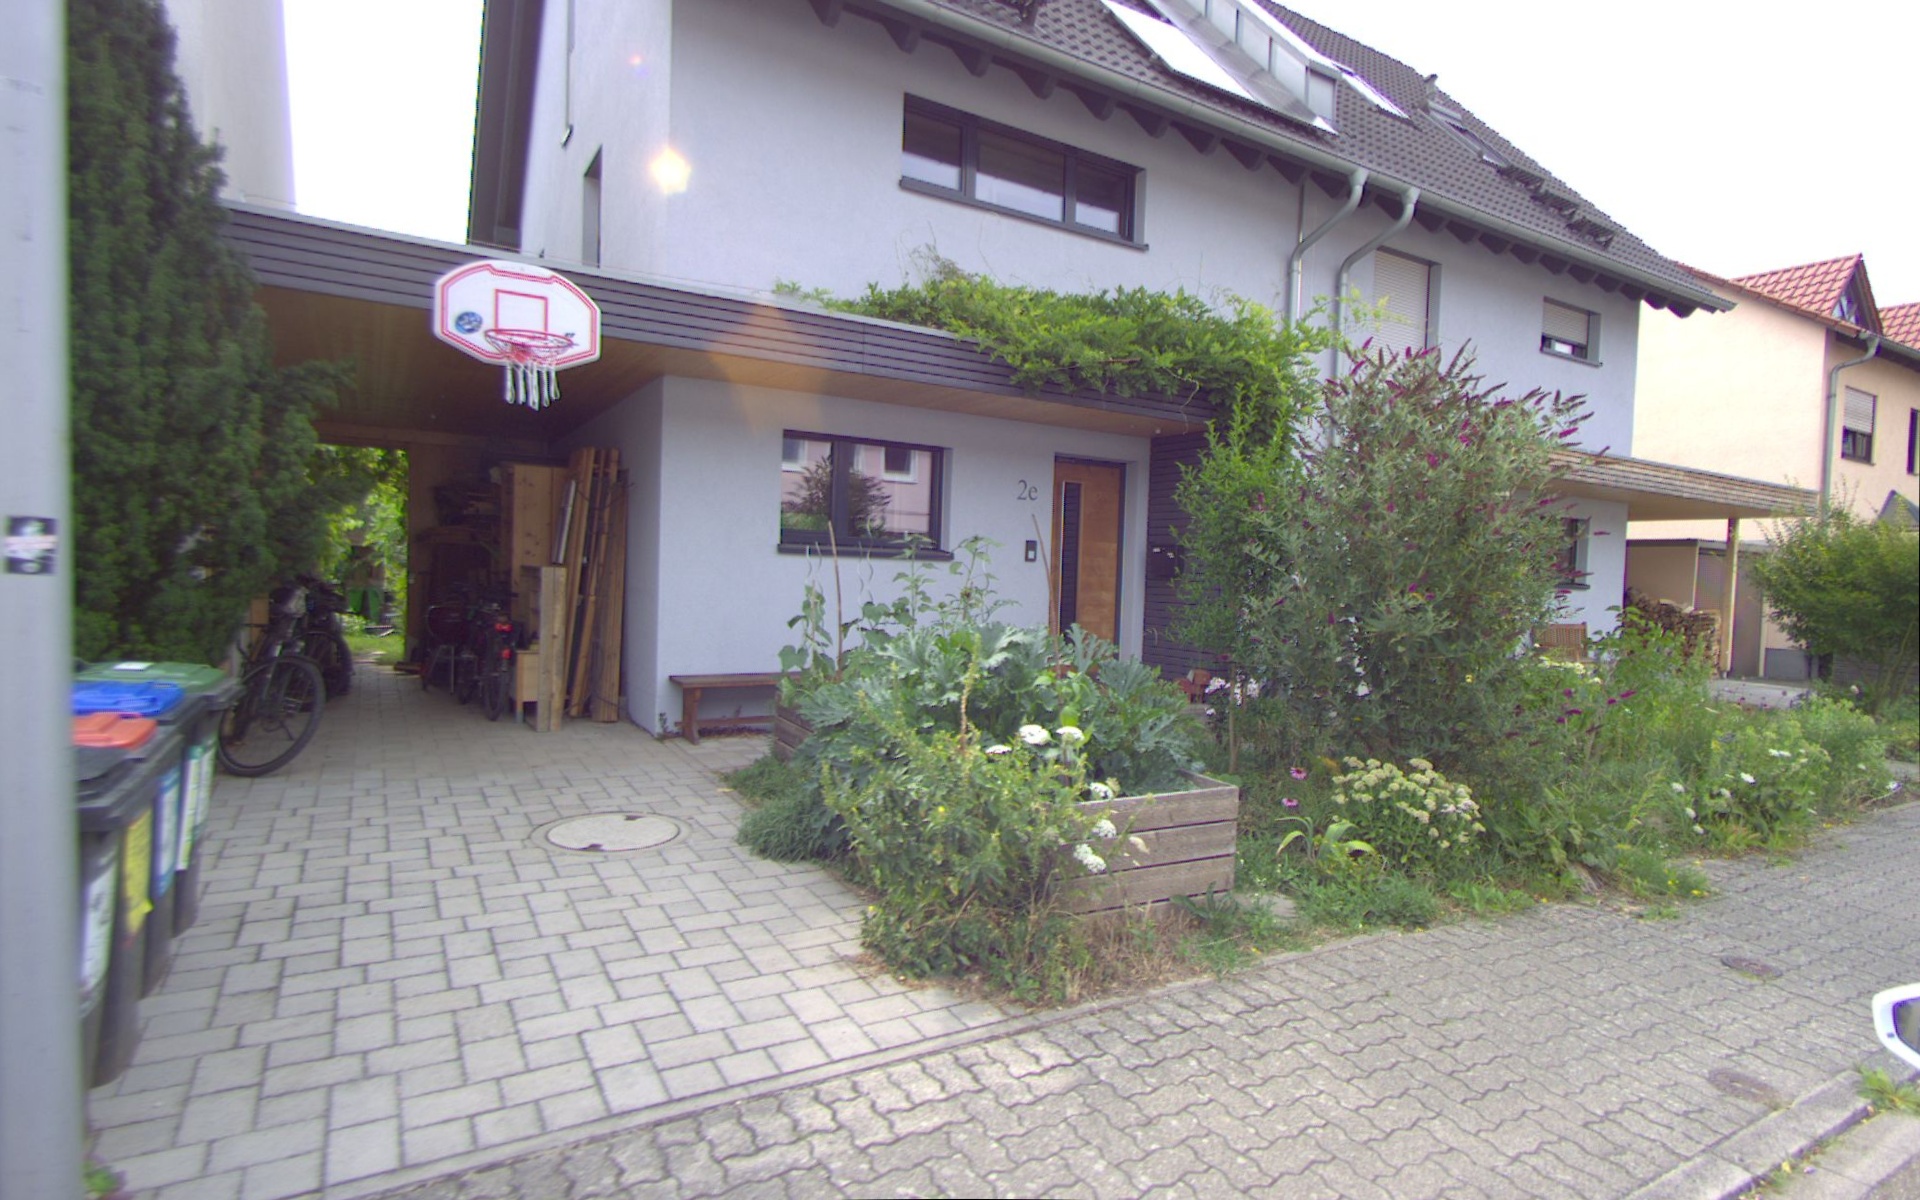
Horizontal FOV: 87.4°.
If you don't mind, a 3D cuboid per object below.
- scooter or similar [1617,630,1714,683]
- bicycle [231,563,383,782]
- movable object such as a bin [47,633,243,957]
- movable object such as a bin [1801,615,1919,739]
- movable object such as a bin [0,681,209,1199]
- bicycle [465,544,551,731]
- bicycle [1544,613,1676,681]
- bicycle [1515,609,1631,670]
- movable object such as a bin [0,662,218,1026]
[{"bbox_3d":[11.729,0.922,16.741,0.359,0.808,1.296,0,0,-30],"label":"scooter or similar"},{"bbox_3d":[-4.118,0.378,6.278,1.787,1.165,0.423,4,2,45],"label":"bicycle"},{"bbox_3d":[-2.850,0.643,3.549,0.461,1.017,0.445,1,3,-30],"label":"movable object such as a bin"},{"bbox_3d":[10.572,0.862,11.672,0.989,1.330,0.944,1,1,-31],"label":"movable object such as a bin"},{"bbox_3d":[-2.119,0.738,2.219,0.657,1.041,0.599,1,2,-30],"label":"movable object such as a bin"},{"bbox_3d":[-3.792,0.254,8.346,0.484,1.365,2.081,1,1,-28],"label":"bicycle"},{"bbox_3d":[10.774,0.753,16.729,0.352,0.965,1.924,1,2,-25],"label":"bicycle"},{"bbox_3d":[10.865,0.677,17.890,0.351,0.965,1.927,1,1,-21],"label":"bicycle"},{"bbox_3d":[-2.620,0.706,3.110,0.461,0.969,0.464,1,3,-30],"label":"movable object such as a bin"}]
